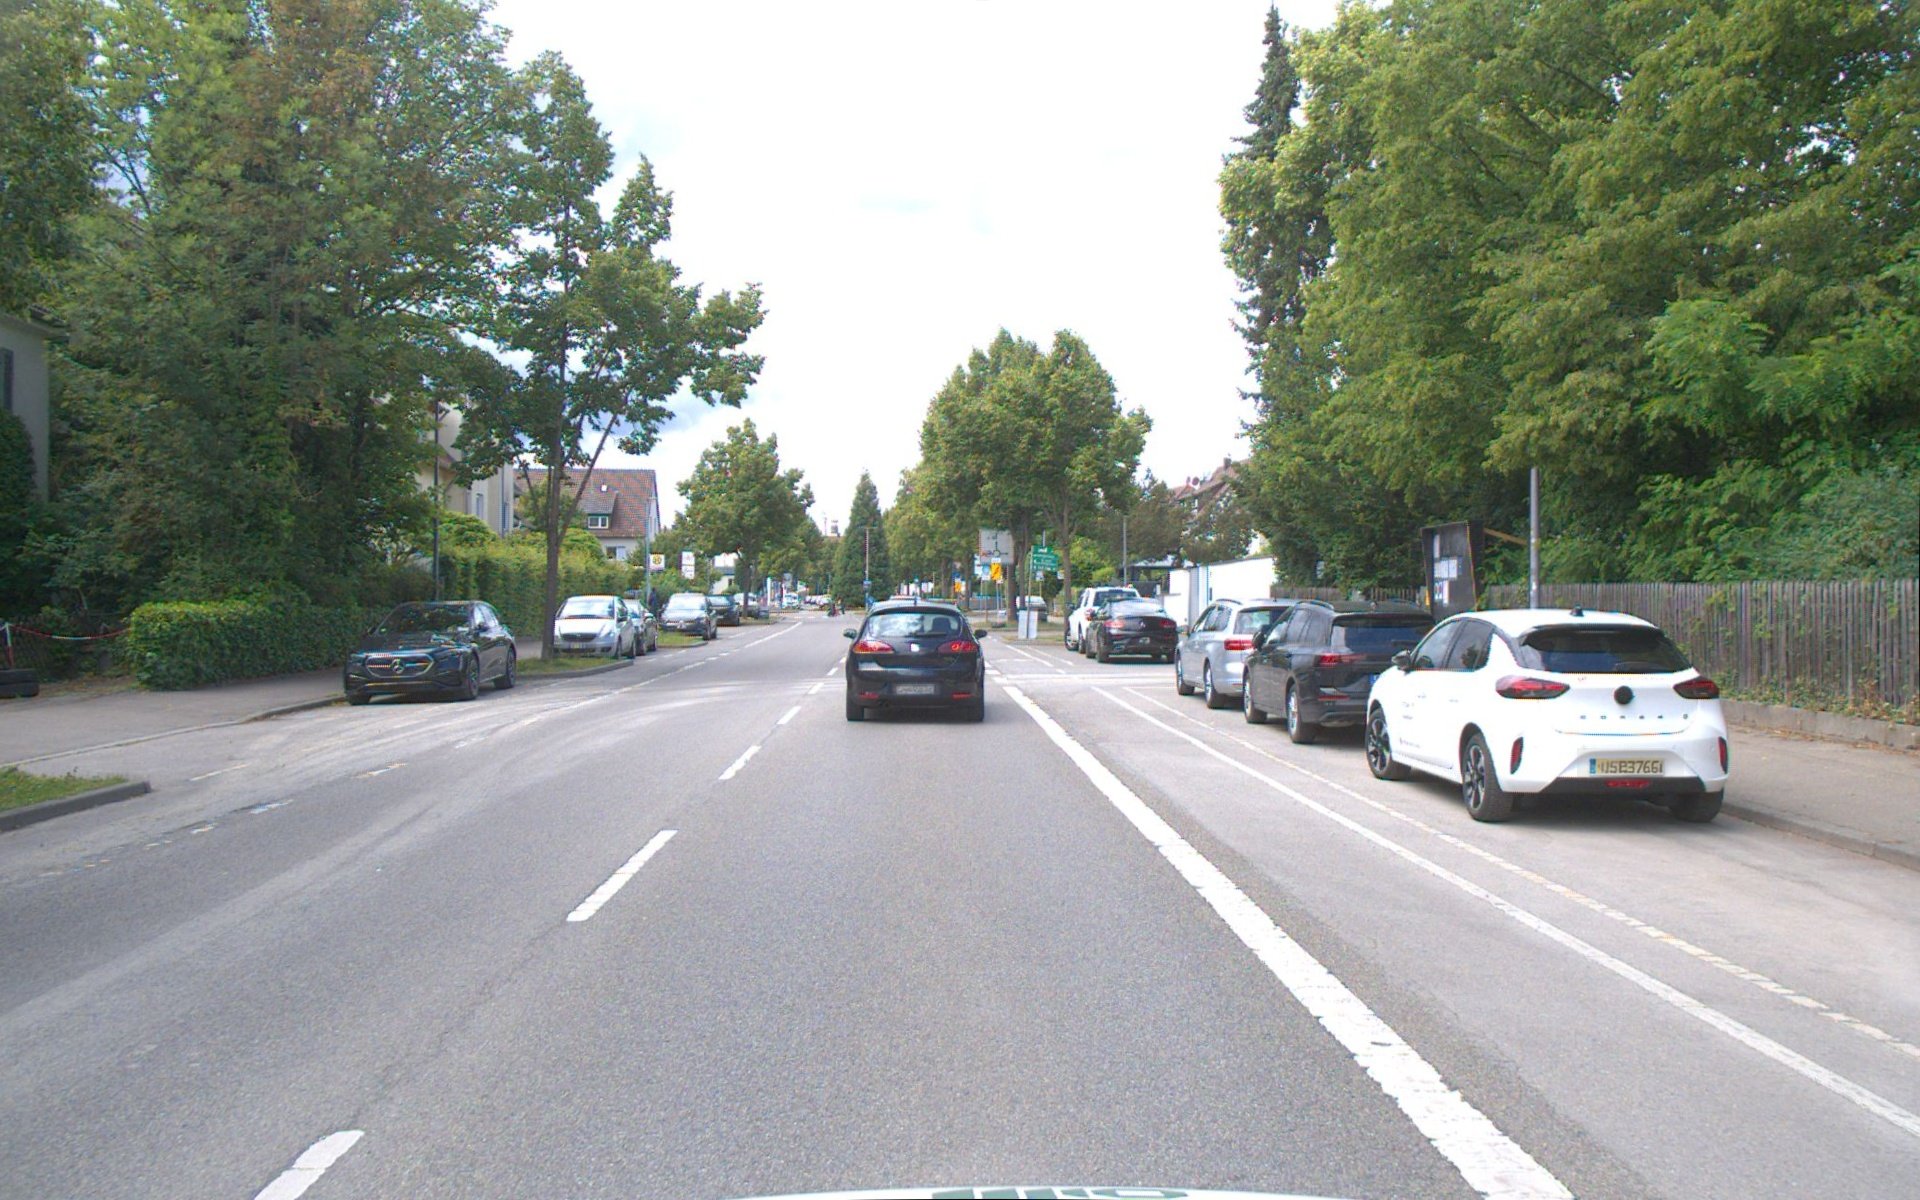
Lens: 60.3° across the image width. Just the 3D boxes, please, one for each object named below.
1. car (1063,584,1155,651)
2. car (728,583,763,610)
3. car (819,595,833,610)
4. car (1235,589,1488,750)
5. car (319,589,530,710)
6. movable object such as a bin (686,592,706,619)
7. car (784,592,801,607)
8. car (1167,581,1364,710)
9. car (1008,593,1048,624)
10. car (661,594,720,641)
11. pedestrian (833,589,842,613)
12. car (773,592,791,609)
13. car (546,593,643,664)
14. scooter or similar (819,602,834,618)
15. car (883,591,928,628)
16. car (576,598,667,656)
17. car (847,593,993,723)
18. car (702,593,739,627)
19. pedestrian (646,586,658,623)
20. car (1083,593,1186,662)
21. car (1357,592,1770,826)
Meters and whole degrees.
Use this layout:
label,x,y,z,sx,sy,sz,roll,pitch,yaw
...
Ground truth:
label,x,y,z,sx,sy,sz,roll,pitch,yaw
car,3.861,0.448,43.500,1.862,1.671,4.114,0,0,-3
car,-13.415,-0.234,103.579,1.823,1.682,4.292,0,0,-2
car,-15.682,0.263,193.558,1.537,1.663,3.620,-1,0,-2
car,4.324,0.673,18.531,1.667,1.536,4.537,1,1,-1
car,-8.399,0.697,26.445,2.054,1.675,5.034,-1,1,-4
movable object such as a bin,-16.961,0.370,106.279,1.182,1.680,0.997,2,-1,-6
car,-18.379,-0.040,181.636,1.762,1.629,3.997,-1,0,-4
car,4.265,0.601,23.823,1.824,1.639,4.685,1,0,-2
car,3.270,0.424,80.328,1.579,1.401,4.384,-1,-1,-2
car,-9.513,0.584,58.620,1.644,1.579,4.269,-1,0,-4
pedestrian,-8.794,0.083,118.874,0.503,1.699,0.483,0,0,15
car,-21.429,0.031,199.097,1.990,2.005,3.995,-1,0,-6
car,-8.965,0.656,40.829,1.684,1.641,3.908,-1,0,-3
scooter or similar,-9.601,0.726,118.949,0.947,1.115,0.407,2,-1,20
car,-2.415,0.406,73.782,1.953,1.641,3.999,0,0,-2
car,-9.420,0.708,46.394,1.955,1.511,4.885,-1,0,-5
car,-0.476,0.680,21.426,1.697,1.512,4.000,0,0,0
car,-12.633,0.494,87.406,1.690,1.755,4.560,0,0,-5
pedestrian,-15.097,0.216,81.043,0.493,1.837,0.671,0,0,-3
car,3.881,0.582,37.385,1.825,1.441,4.602,0,0,0
car,4.453,0.729,12.897,1.731,1.537,4.030,0,0,0
